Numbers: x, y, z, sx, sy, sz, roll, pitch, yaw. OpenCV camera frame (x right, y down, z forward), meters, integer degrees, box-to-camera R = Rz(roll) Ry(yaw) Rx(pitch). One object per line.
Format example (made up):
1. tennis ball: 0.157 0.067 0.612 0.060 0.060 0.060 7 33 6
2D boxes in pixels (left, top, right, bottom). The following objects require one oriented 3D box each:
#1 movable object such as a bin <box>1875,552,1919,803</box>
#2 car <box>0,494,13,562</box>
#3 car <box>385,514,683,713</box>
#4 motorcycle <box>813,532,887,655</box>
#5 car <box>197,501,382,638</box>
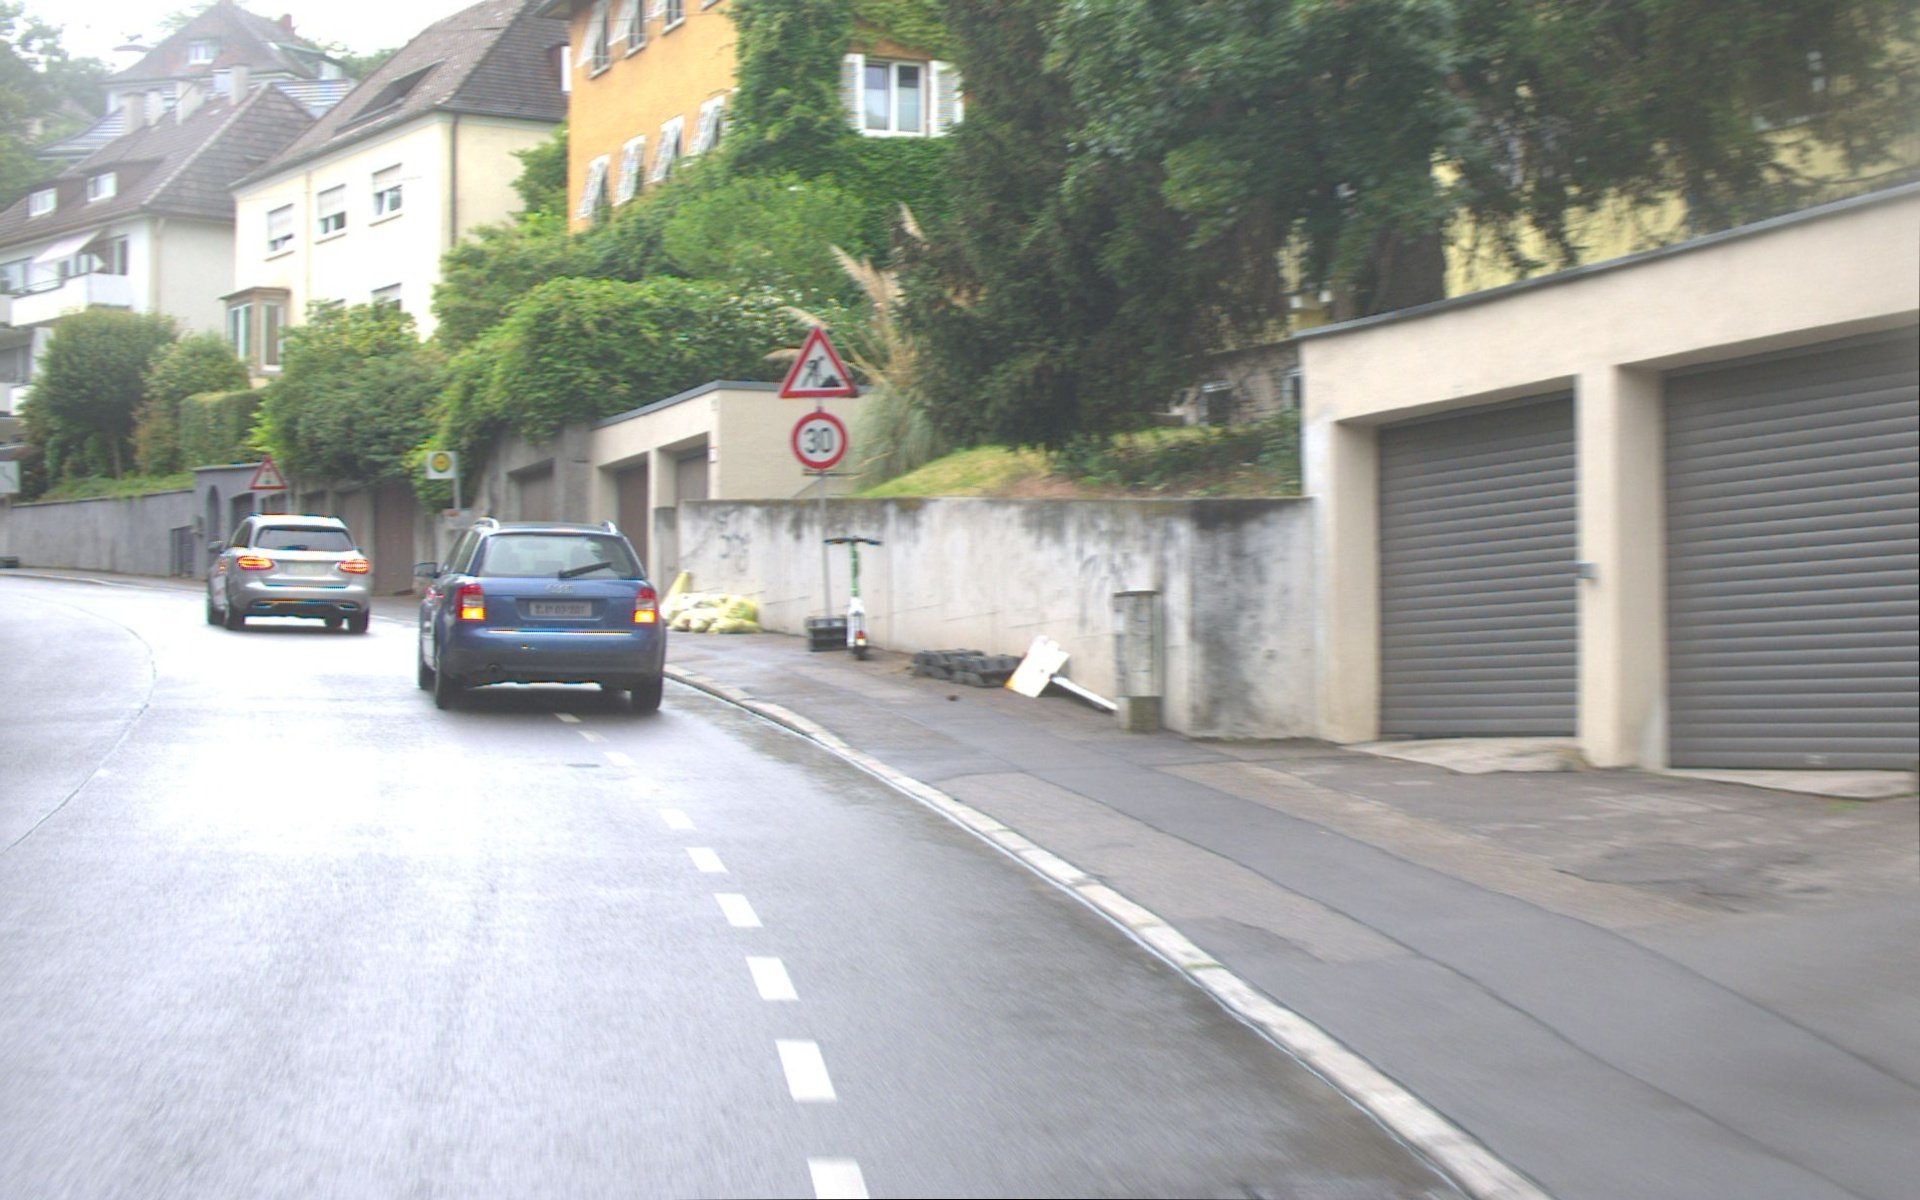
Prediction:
1. movable object such as a bin: 4.803 0.345 15.729 0.859 1.138 0.800 -2 1 -23
2. car: -25.239 -1.793 85.993 1.993 1.678 4.000 -1 2 -31
3. car: -3.484 0.062 27.460 1.853 1.409 4.363 -2 1 -13
4. motorcycle: -1.057 -0.077 32.750 0.548 1.128 1.440 -1 1 -8
5. car: -8.719 -0.426 44.435 1.949 1.556 4.265 0 3 -16
